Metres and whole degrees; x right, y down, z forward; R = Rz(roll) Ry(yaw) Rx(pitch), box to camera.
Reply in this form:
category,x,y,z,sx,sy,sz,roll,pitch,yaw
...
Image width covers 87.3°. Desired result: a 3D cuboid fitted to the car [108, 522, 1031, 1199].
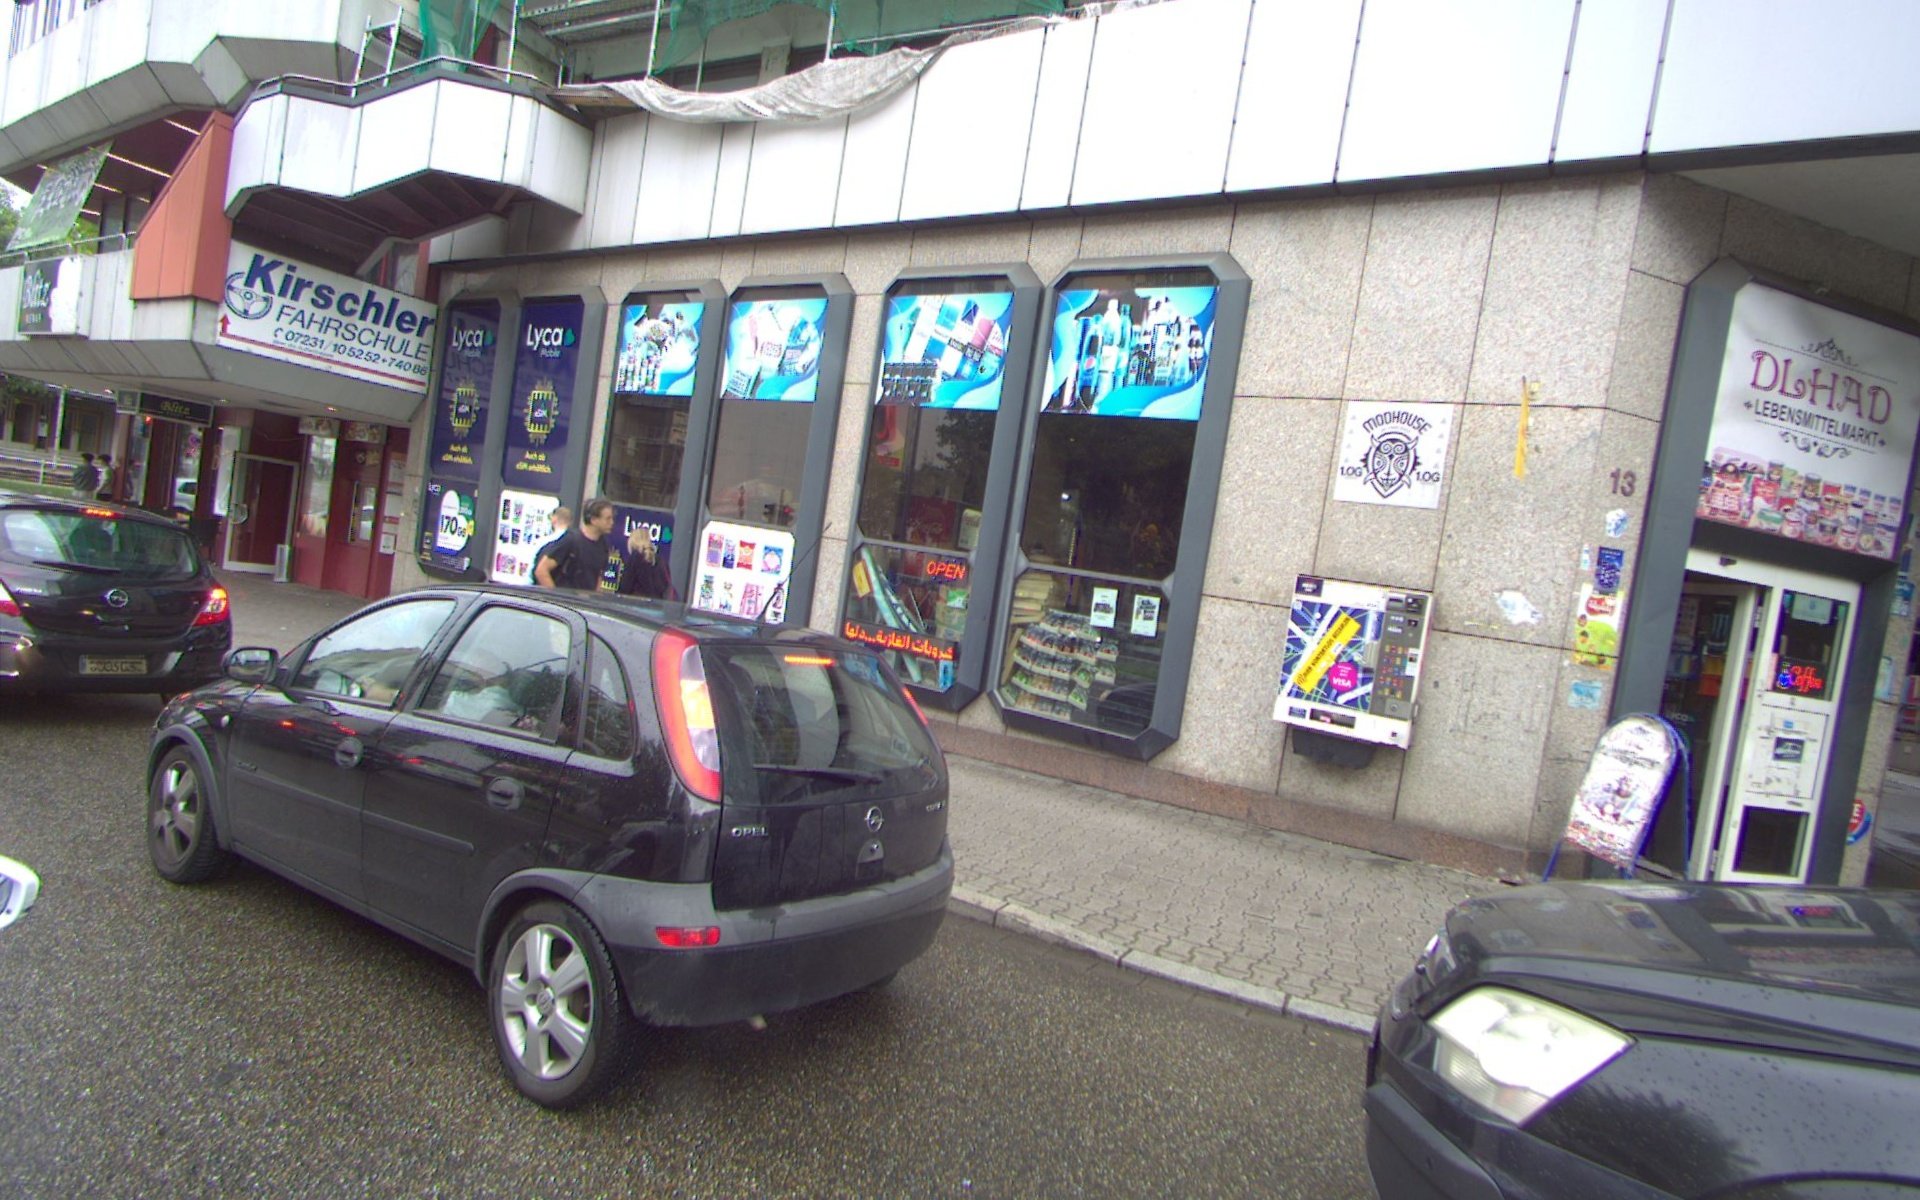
category,x,y,z,sx,sy,sz,roll,pitch,yaw
car,-1.734,0.653,4.111,3.563,1.446,1.609,8,-1,33

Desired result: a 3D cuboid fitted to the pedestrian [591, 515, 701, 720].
category,x,y,z,sx,sy,sz,roll,pitch,yaw
pedestrian,-3.177,0.163,10.196,0.629,1.961,0.736,6,4,31

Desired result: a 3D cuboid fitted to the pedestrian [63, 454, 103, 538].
category,x,y,z,sx,sy,sz,roll,pitch,yaw
pedestrian,-18.625,-2.204,21.360,0.443,1.704,0.426,6,1,30

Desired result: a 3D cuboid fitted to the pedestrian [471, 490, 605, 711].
category,x,y,z,sx,sy,sz,roll,pitch,yaw
pedestrian,-3.949,0.019,9.440,0.629,1.957,0.737,6,-1,31

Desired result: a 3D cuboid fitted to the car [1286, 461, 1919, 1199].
category,x,y,z,sx,sy,sz,roll,pitch,yaw
car,2.805,0.953,1.432,4.095,1.786,1.763,8,-1,33

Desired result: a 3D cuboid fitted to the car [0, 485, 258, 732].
category,x,y,z,sx,sy,sz,roll,pitch,yaw
car,-7.077,-0.109,7.316,3.776,1.446,1.620,8,-1,29

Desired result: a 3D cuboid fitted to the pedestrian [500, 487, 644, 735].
category,x,y,z,sx,sy,sz,roll,pitch,yaw
pedestrian,-3.083,0.066,7.977,0.763,1.841,0.739,7,4,43

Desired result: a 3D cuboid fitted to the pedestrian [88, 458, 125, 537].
category,x,y,z,sx,sy,sz,roll,pitch,yaw
pedestrian,-18.681,-2.237,22.008,0.496,1.660,0.396,6,1,32
